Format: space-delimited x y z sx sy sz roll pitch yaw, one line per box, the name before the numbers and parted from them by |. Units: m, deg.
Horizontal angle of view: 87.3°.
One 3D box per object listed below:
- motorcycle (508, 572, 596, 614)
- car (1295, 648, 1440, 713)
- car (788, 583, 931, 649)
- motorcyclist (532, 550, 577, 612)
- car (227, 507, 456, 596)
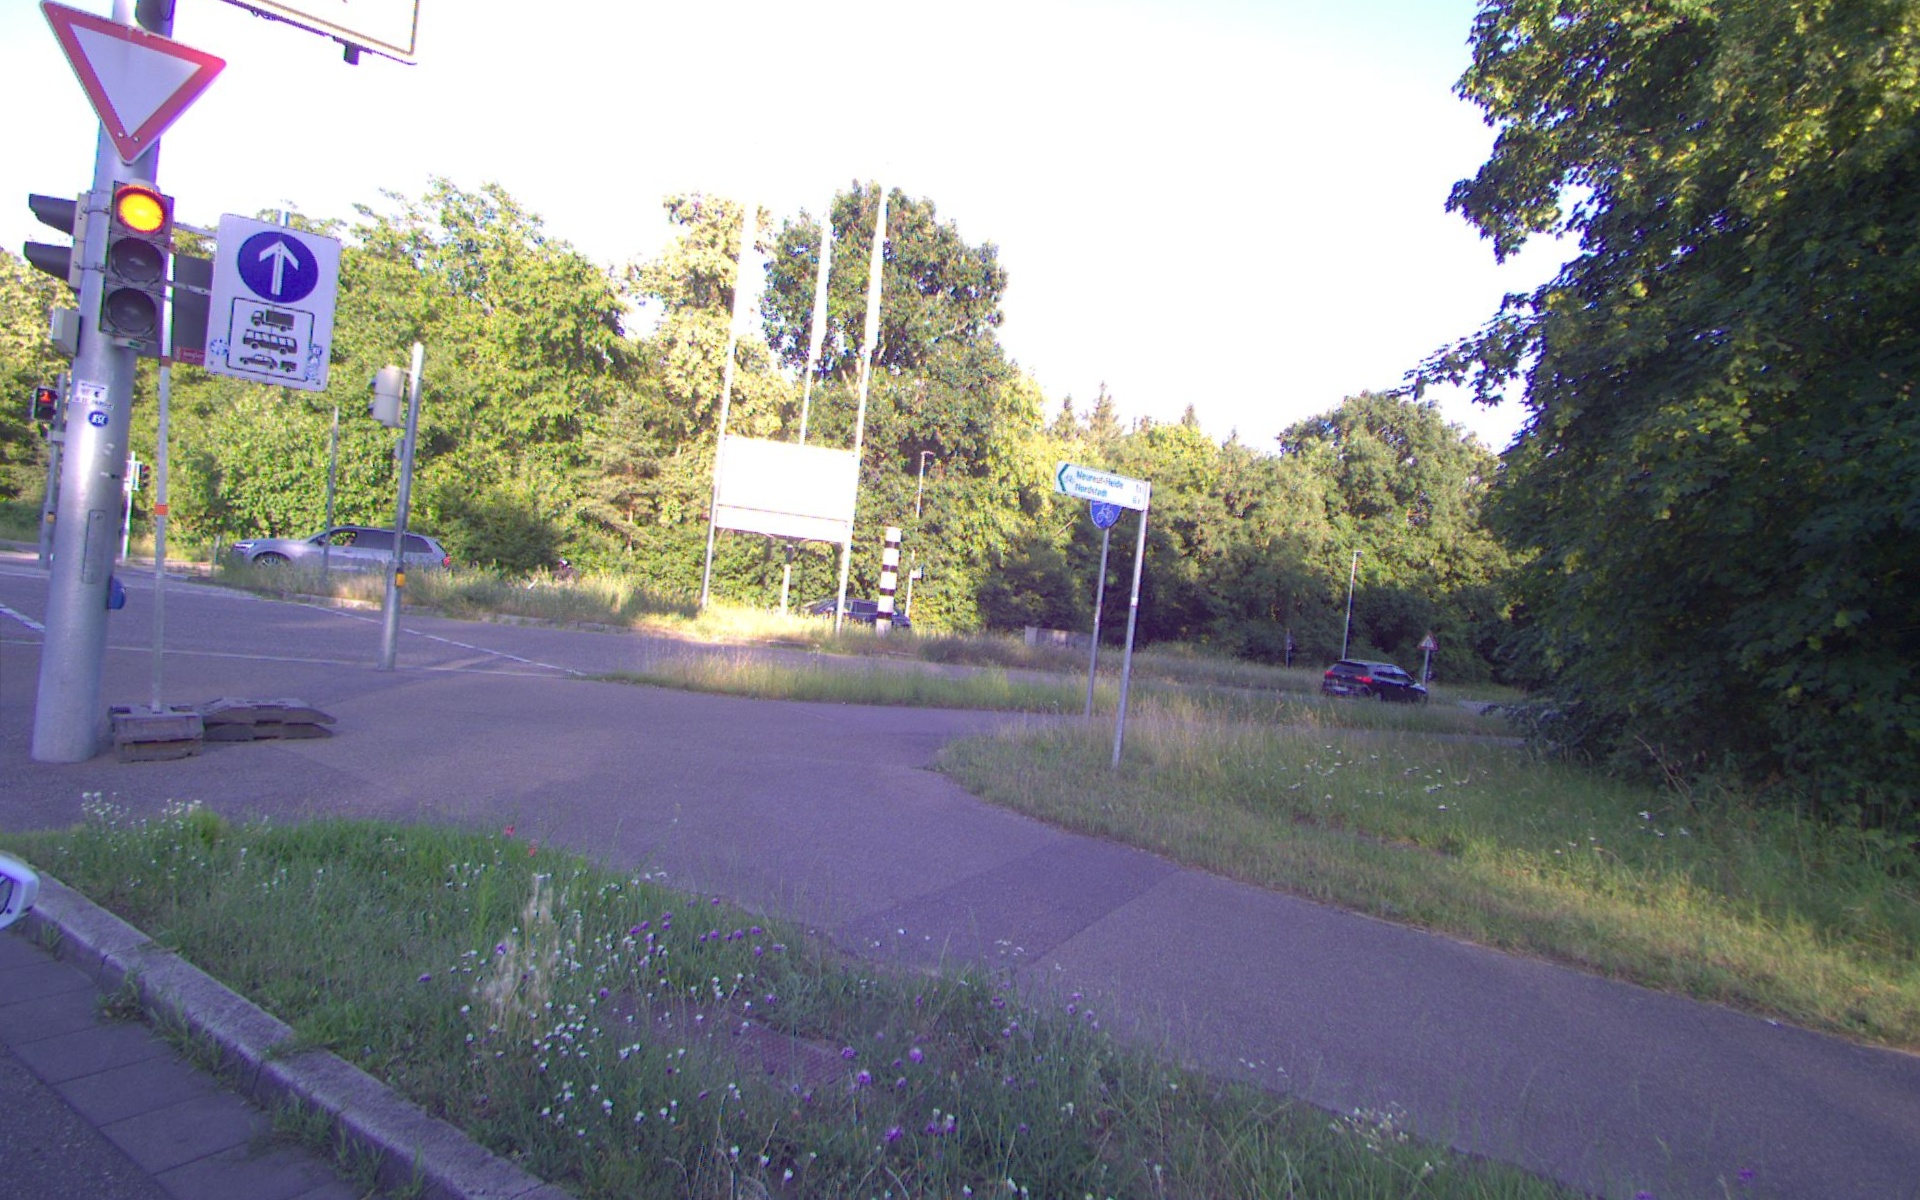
motorcycle | -11.372 -0.183 28.082 2.133 0.921 0.655 7 0 -37
car | 13.002 2.590 32.011 4.636 1.548 1.981 7 -1 -35
car | -3.009 0.503 30.440 3.840 1.507 1.754 7 -1 -36
motorcyclist | -11.312 -0.523 28.088 0.881 1.614 0.648 6 0 -37
car | -15.916 -1.207 25.994 4.790 1.618 1.980 7 0 -37
